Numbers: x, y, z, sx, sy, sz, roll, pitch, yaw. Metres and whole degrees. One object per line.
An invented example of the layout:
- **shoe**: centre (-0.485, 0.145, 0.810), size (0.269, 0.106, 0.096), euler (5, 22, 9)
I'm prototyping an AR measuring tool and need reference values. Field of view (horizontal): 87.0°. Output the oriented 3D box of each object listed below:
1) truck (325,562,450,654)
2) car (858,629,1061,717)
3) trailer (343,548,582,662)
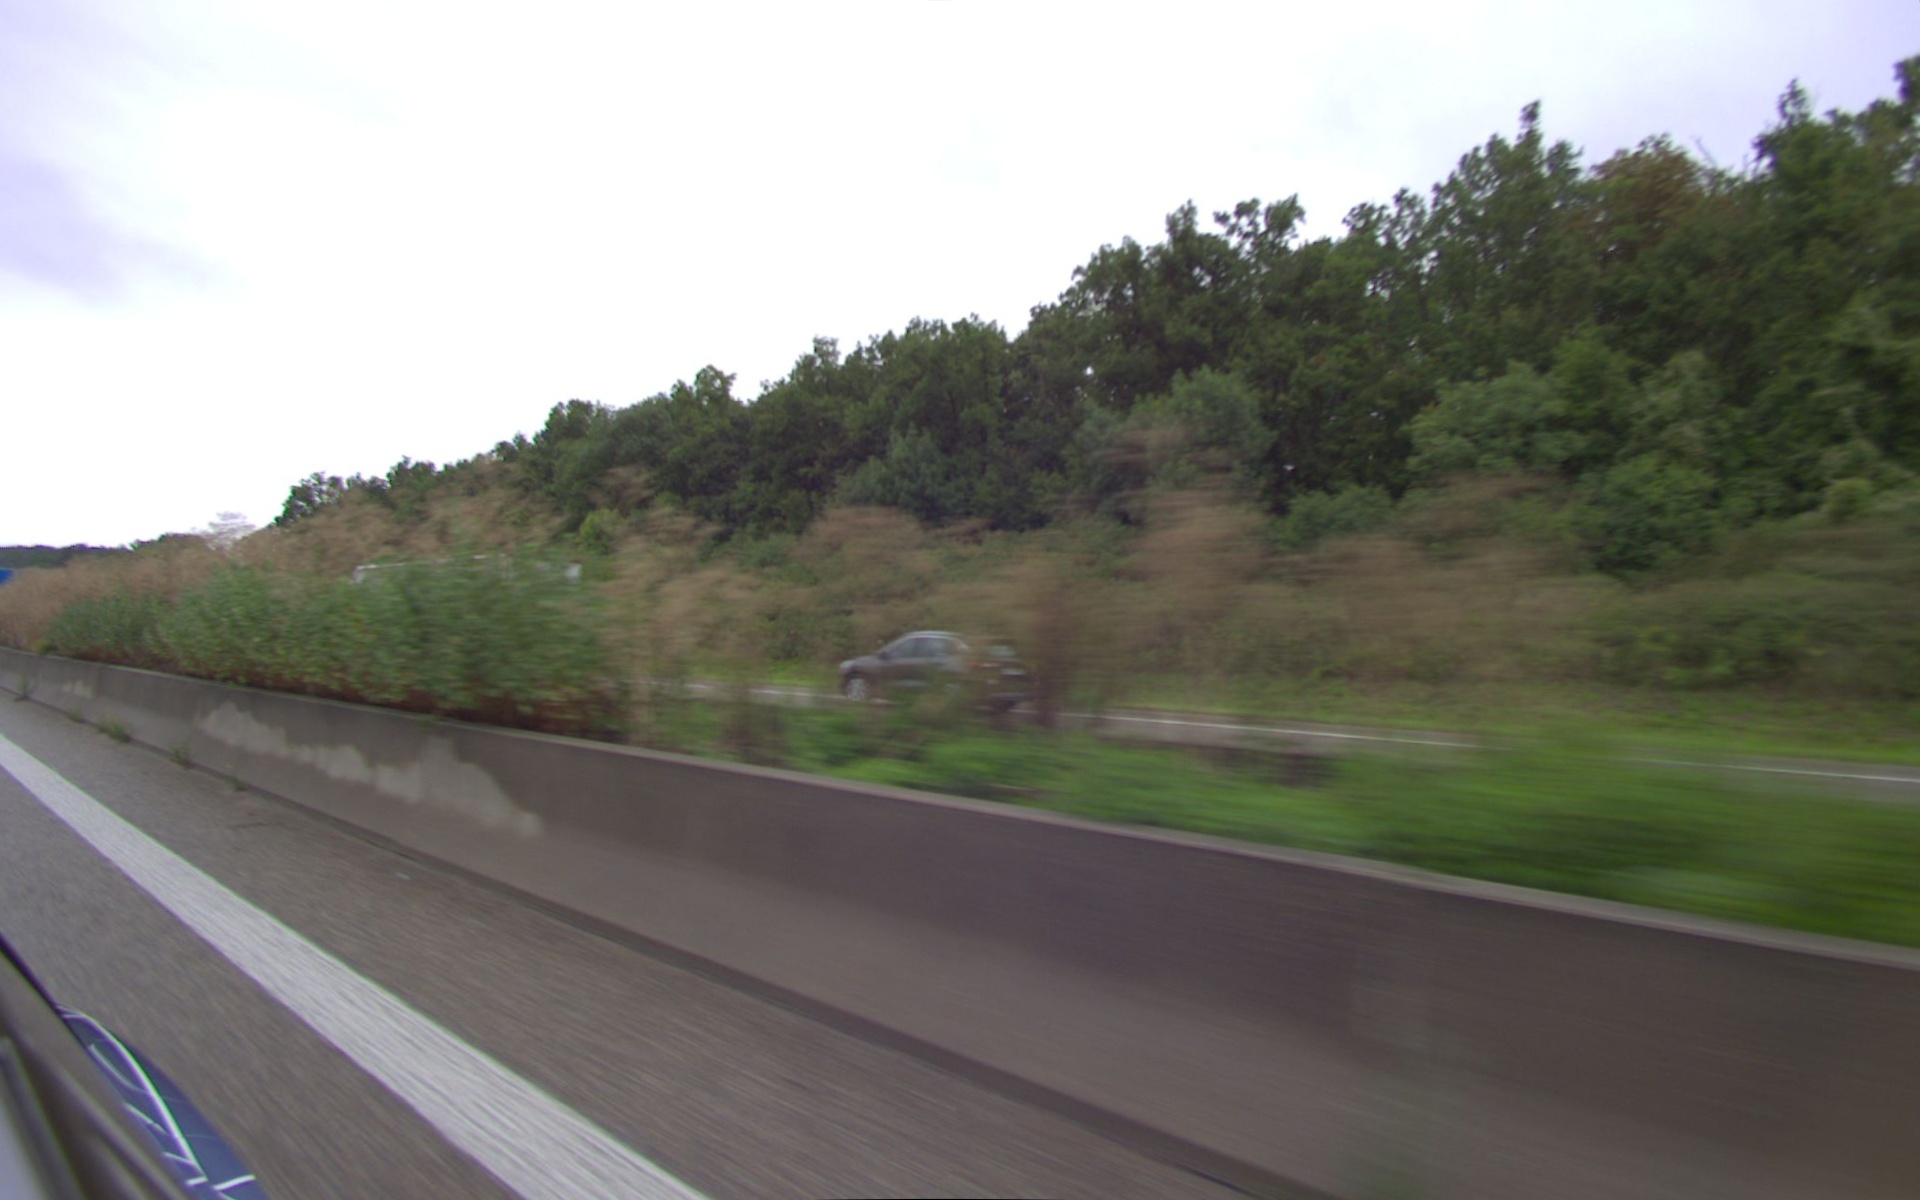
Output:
- **truck**: centre (-23.200, 0.369, 40.986), size (4.768, 3.494, 2.960), euler (-1, -2, 41)
- **car**: centre (-0.077, 1.413, 20.730), size (3.998, 1.614, 1.757), euler (-1, -2, 41)
- **trailer**: centre (-18.472, 0.278, 36.816), size (13.250, 3.512, 2.956), euler (-1, -2, 42)
